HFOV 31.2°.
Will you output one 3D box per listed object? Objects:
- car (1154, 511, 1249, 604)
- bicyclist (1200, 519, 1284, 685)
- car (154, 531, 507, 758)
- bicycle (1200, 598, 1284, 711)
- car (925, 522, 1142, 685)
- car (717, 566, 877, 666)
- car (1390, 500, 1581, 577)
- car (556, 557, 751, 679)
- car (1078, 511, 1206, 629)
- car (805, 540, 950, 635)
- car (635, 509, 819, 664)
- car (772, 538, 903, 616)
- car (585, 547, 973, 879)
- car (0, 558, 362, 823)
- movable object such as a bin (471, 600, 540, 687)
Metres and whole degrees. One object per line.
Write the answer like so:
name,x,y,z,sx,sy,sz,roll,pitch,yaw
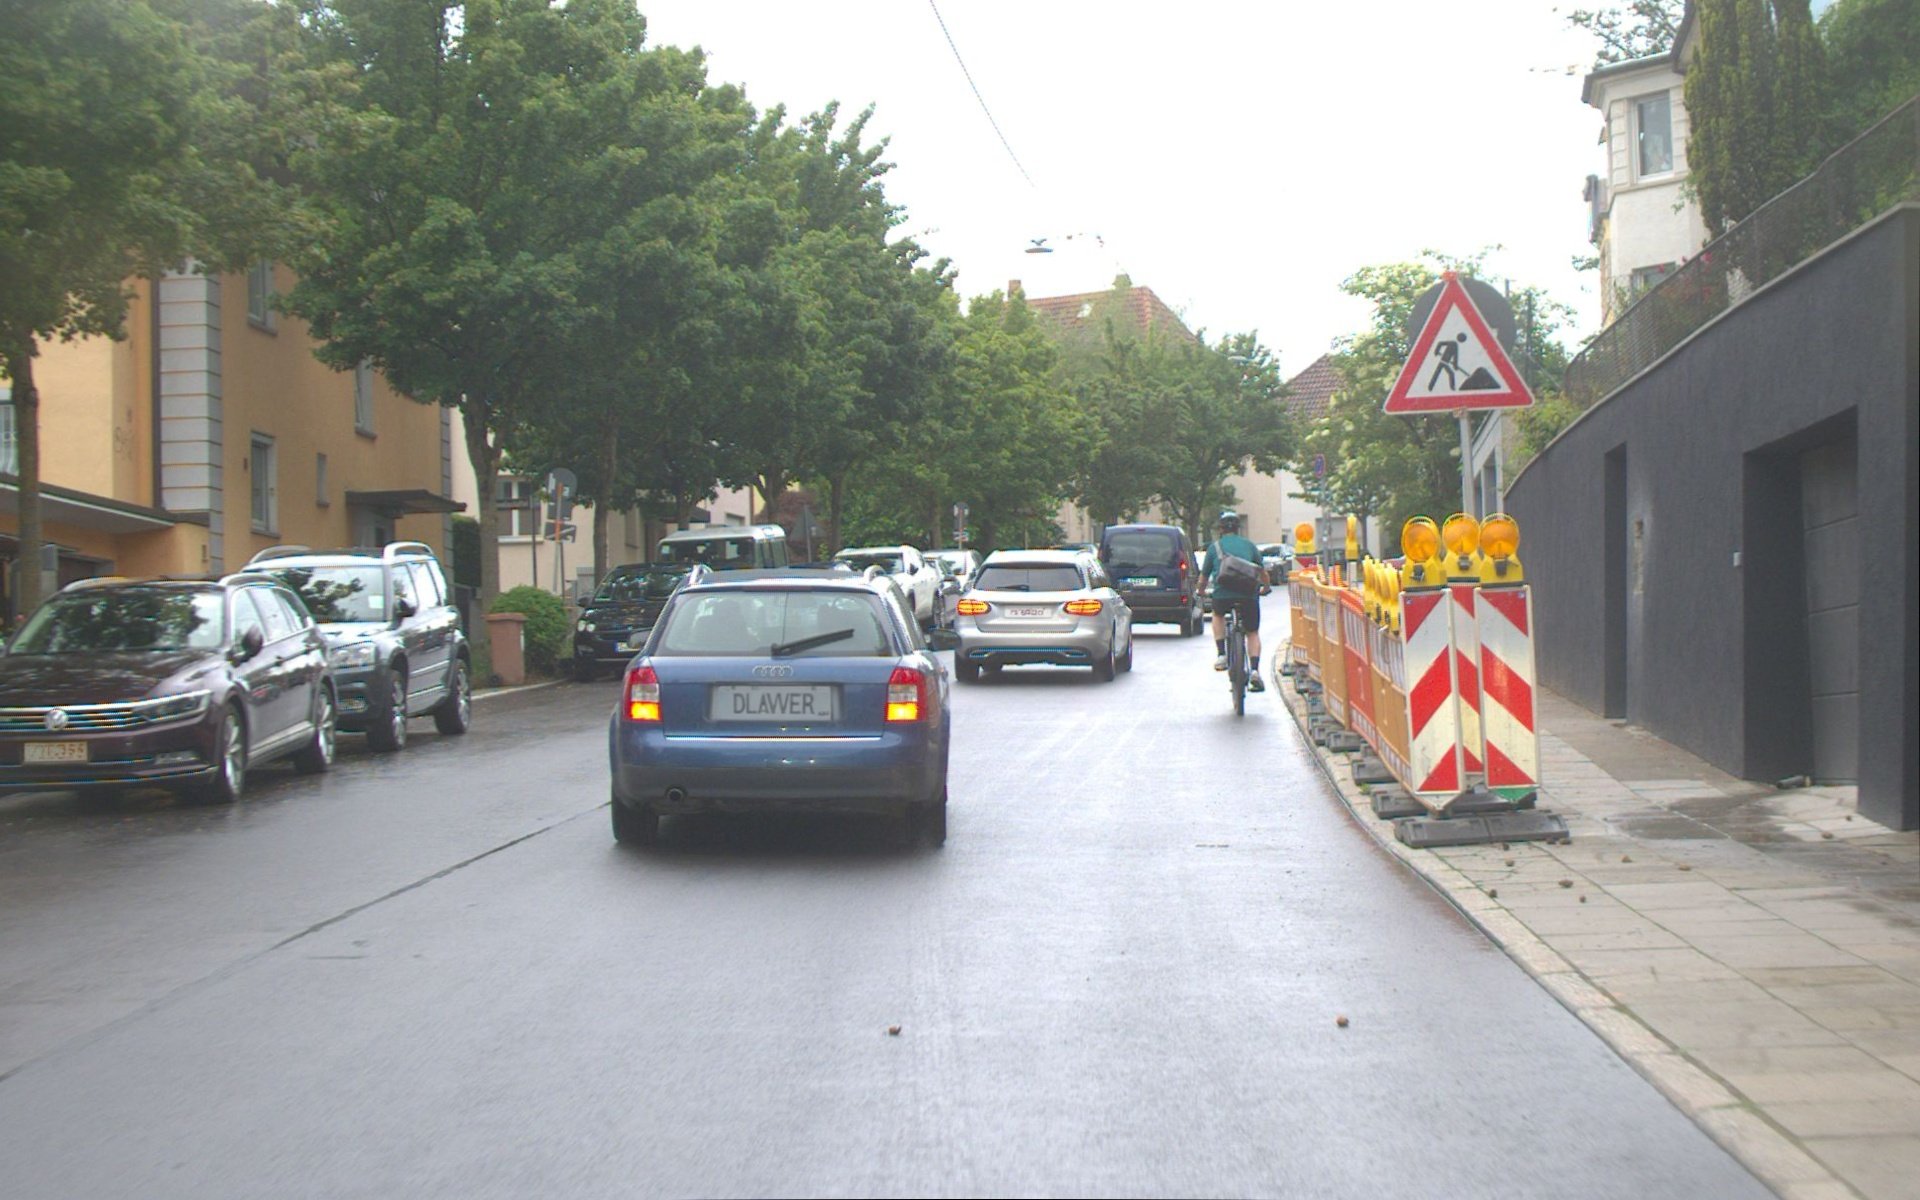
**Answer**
car,5.064,-0.919,71.605,1.734,1.762,4.234,1,3,7
bicyclist,2.541,0.008,30.900,0.725,1.467,0.886,0,1,6
car,-5.168,0.310,28.778,1.768,1.629,4.109,-4,1,5
bicycle,2.548,0.478,30.972,0.730,0.961,1.670,0,1,6
car,0.896,-0.008,39.277,1.976,1.629,4.234,1,3,8
car,-2.644,0.232,56.873,1.768,1.382,4.633,-2,2,8
car,11.555,-1.350,75.534,3.989,1.461,1.738,-2,2,13
car,-3.939,0.200,44.895,1.768,1.431,4.346,-2,1,5
car,3.052,-0.533,57.041,1.734,1.762,4.234,1,3,8
car,-1.485,-0.238,63.699,1.769,1.621,4.688,-2,0,10
car,-3.373,-0.250,50.629,1.792,2.042,4.781,-4,1,6
car,-3.390,-0.644,95.612,3.211,1.734,1.479,-7,1,10
car,-0.875,0.520,18.732,1.733,1.461,4.000,1,3,2
car,-5.430,0.534,23.244,1.768,1.530,4.605,-3,1,2
movable object such as a bin,-5.695,0.536,43.066,0.682,1.008,0.708,-5,1,0
